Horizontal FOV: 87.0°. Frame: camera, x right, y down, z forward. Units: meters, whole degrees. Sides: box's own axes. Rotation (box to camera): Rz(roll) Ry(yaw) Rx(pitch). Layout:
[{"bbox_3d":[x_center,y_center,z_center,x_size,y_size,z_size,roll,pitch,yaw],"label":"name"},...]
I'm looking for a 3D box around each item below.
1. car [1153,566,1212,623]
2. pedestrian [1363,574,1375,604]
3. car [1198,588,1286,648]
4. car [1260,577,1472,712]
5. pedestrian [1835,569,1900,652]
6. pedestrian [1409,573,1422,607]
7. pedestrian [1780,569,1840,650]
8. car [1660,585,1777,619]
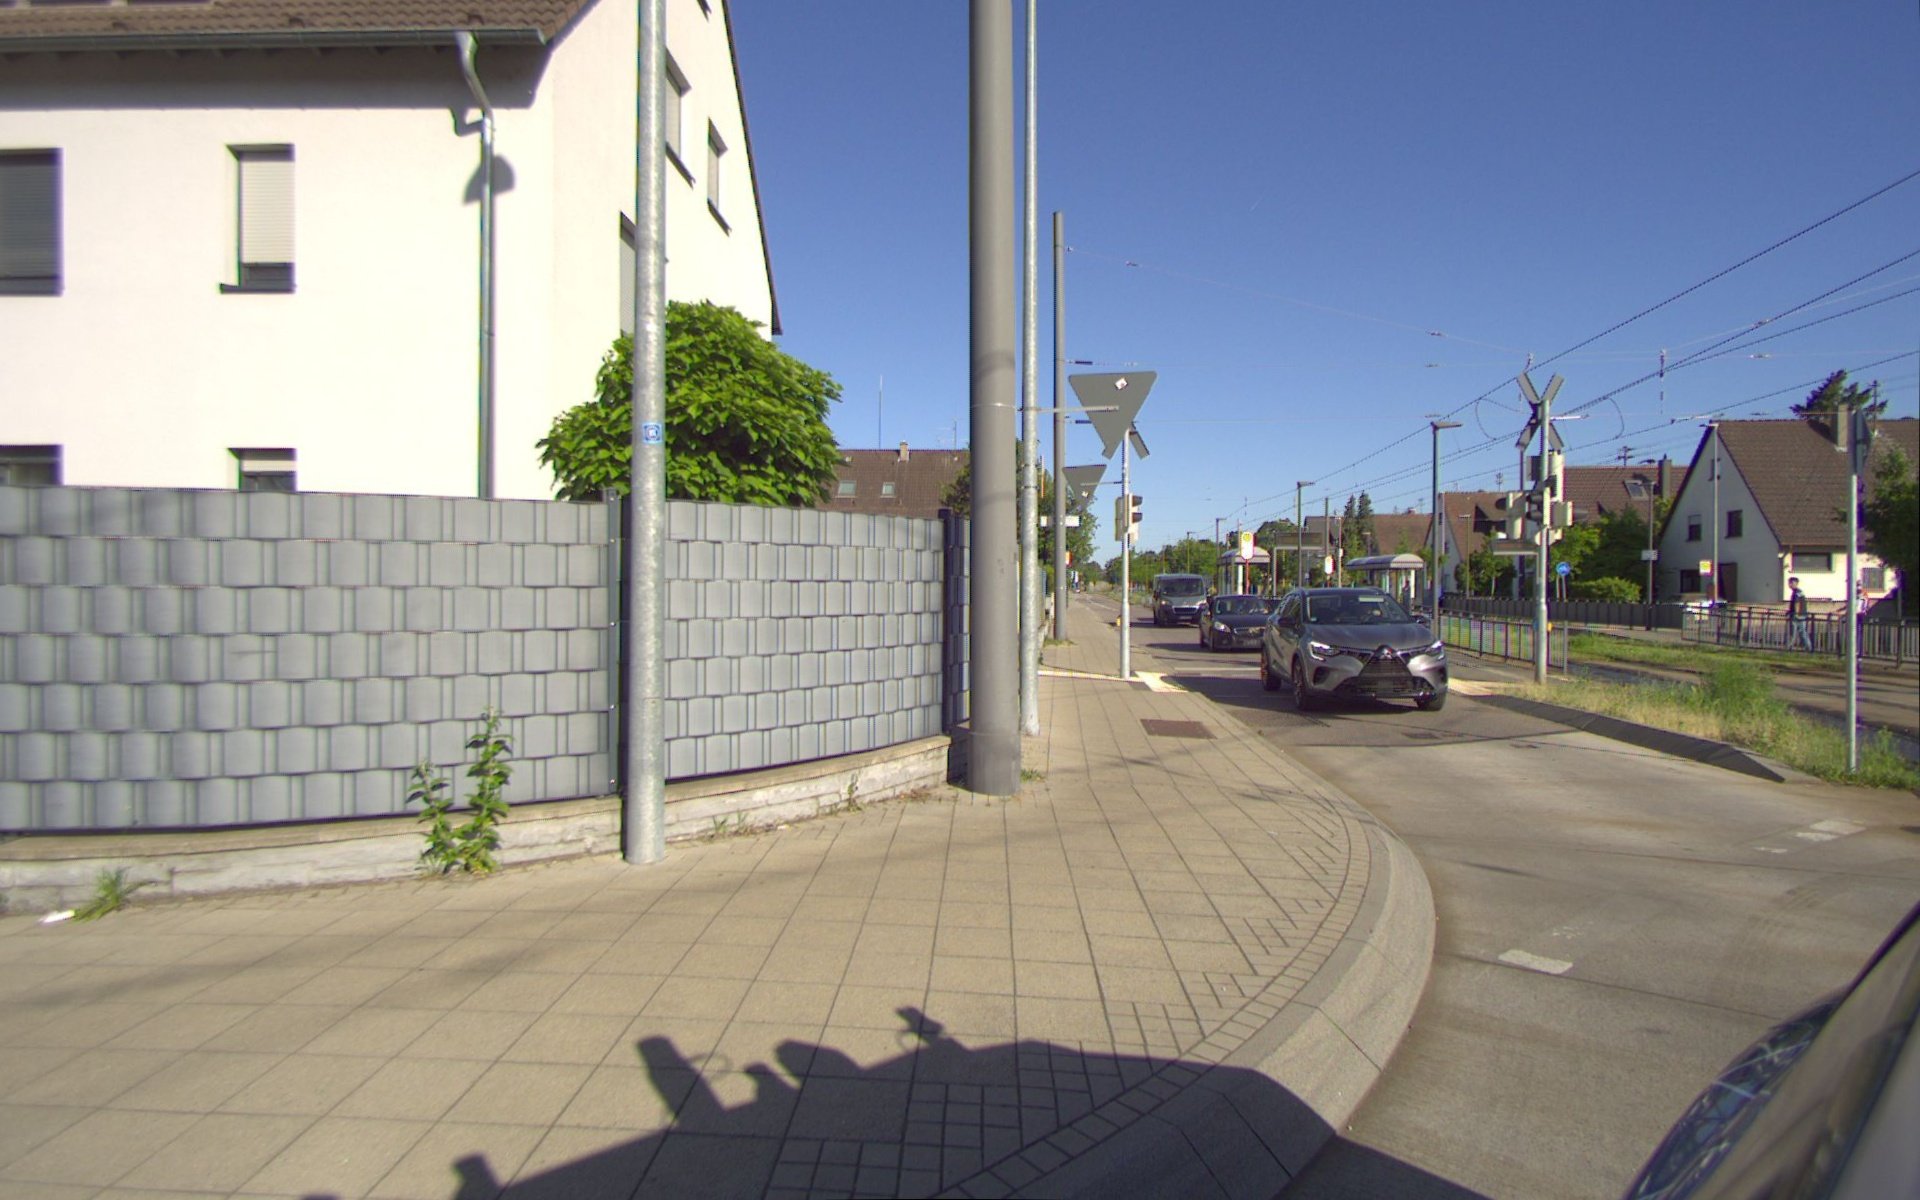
[{"bbox_3d":[9.395,-0.246,43.103,2.056,2.268,4.711,-1,0,8],"label":"car"},{"bbox_3d":[24.116,-0.636,59.710,0.526,1.775,0.542,0,0,7],"label":"pedestrian"},{"bbox_3d":[7.168,0.406,26.053,1.660,1.404,3.991,-1,0,8],"label":"car"},{"bbox_3d":[5.441,0.522,14.124,1.800,1.599,3.991,-1,0,8],"label":"car"},{"bbox_3d":[19.114,0.211,21.330,0.780,1.681,0.729,-3,2,-17],"label":"pedestrian"},{"bbox_3d":[23.624,-0.507,52.505,0.617,1.775,0.437,0,0,26],"label":"pedestrian"},{"bbox_3d":[19.468,0.205,23.193,0.675,1.792,0.827,-3,2,-17],"label":"pedestrian"},{"bbox_3d":[35.503,0.065,47.461,3.920,1.554,1.998,0,1,5],"label":"car"}]
